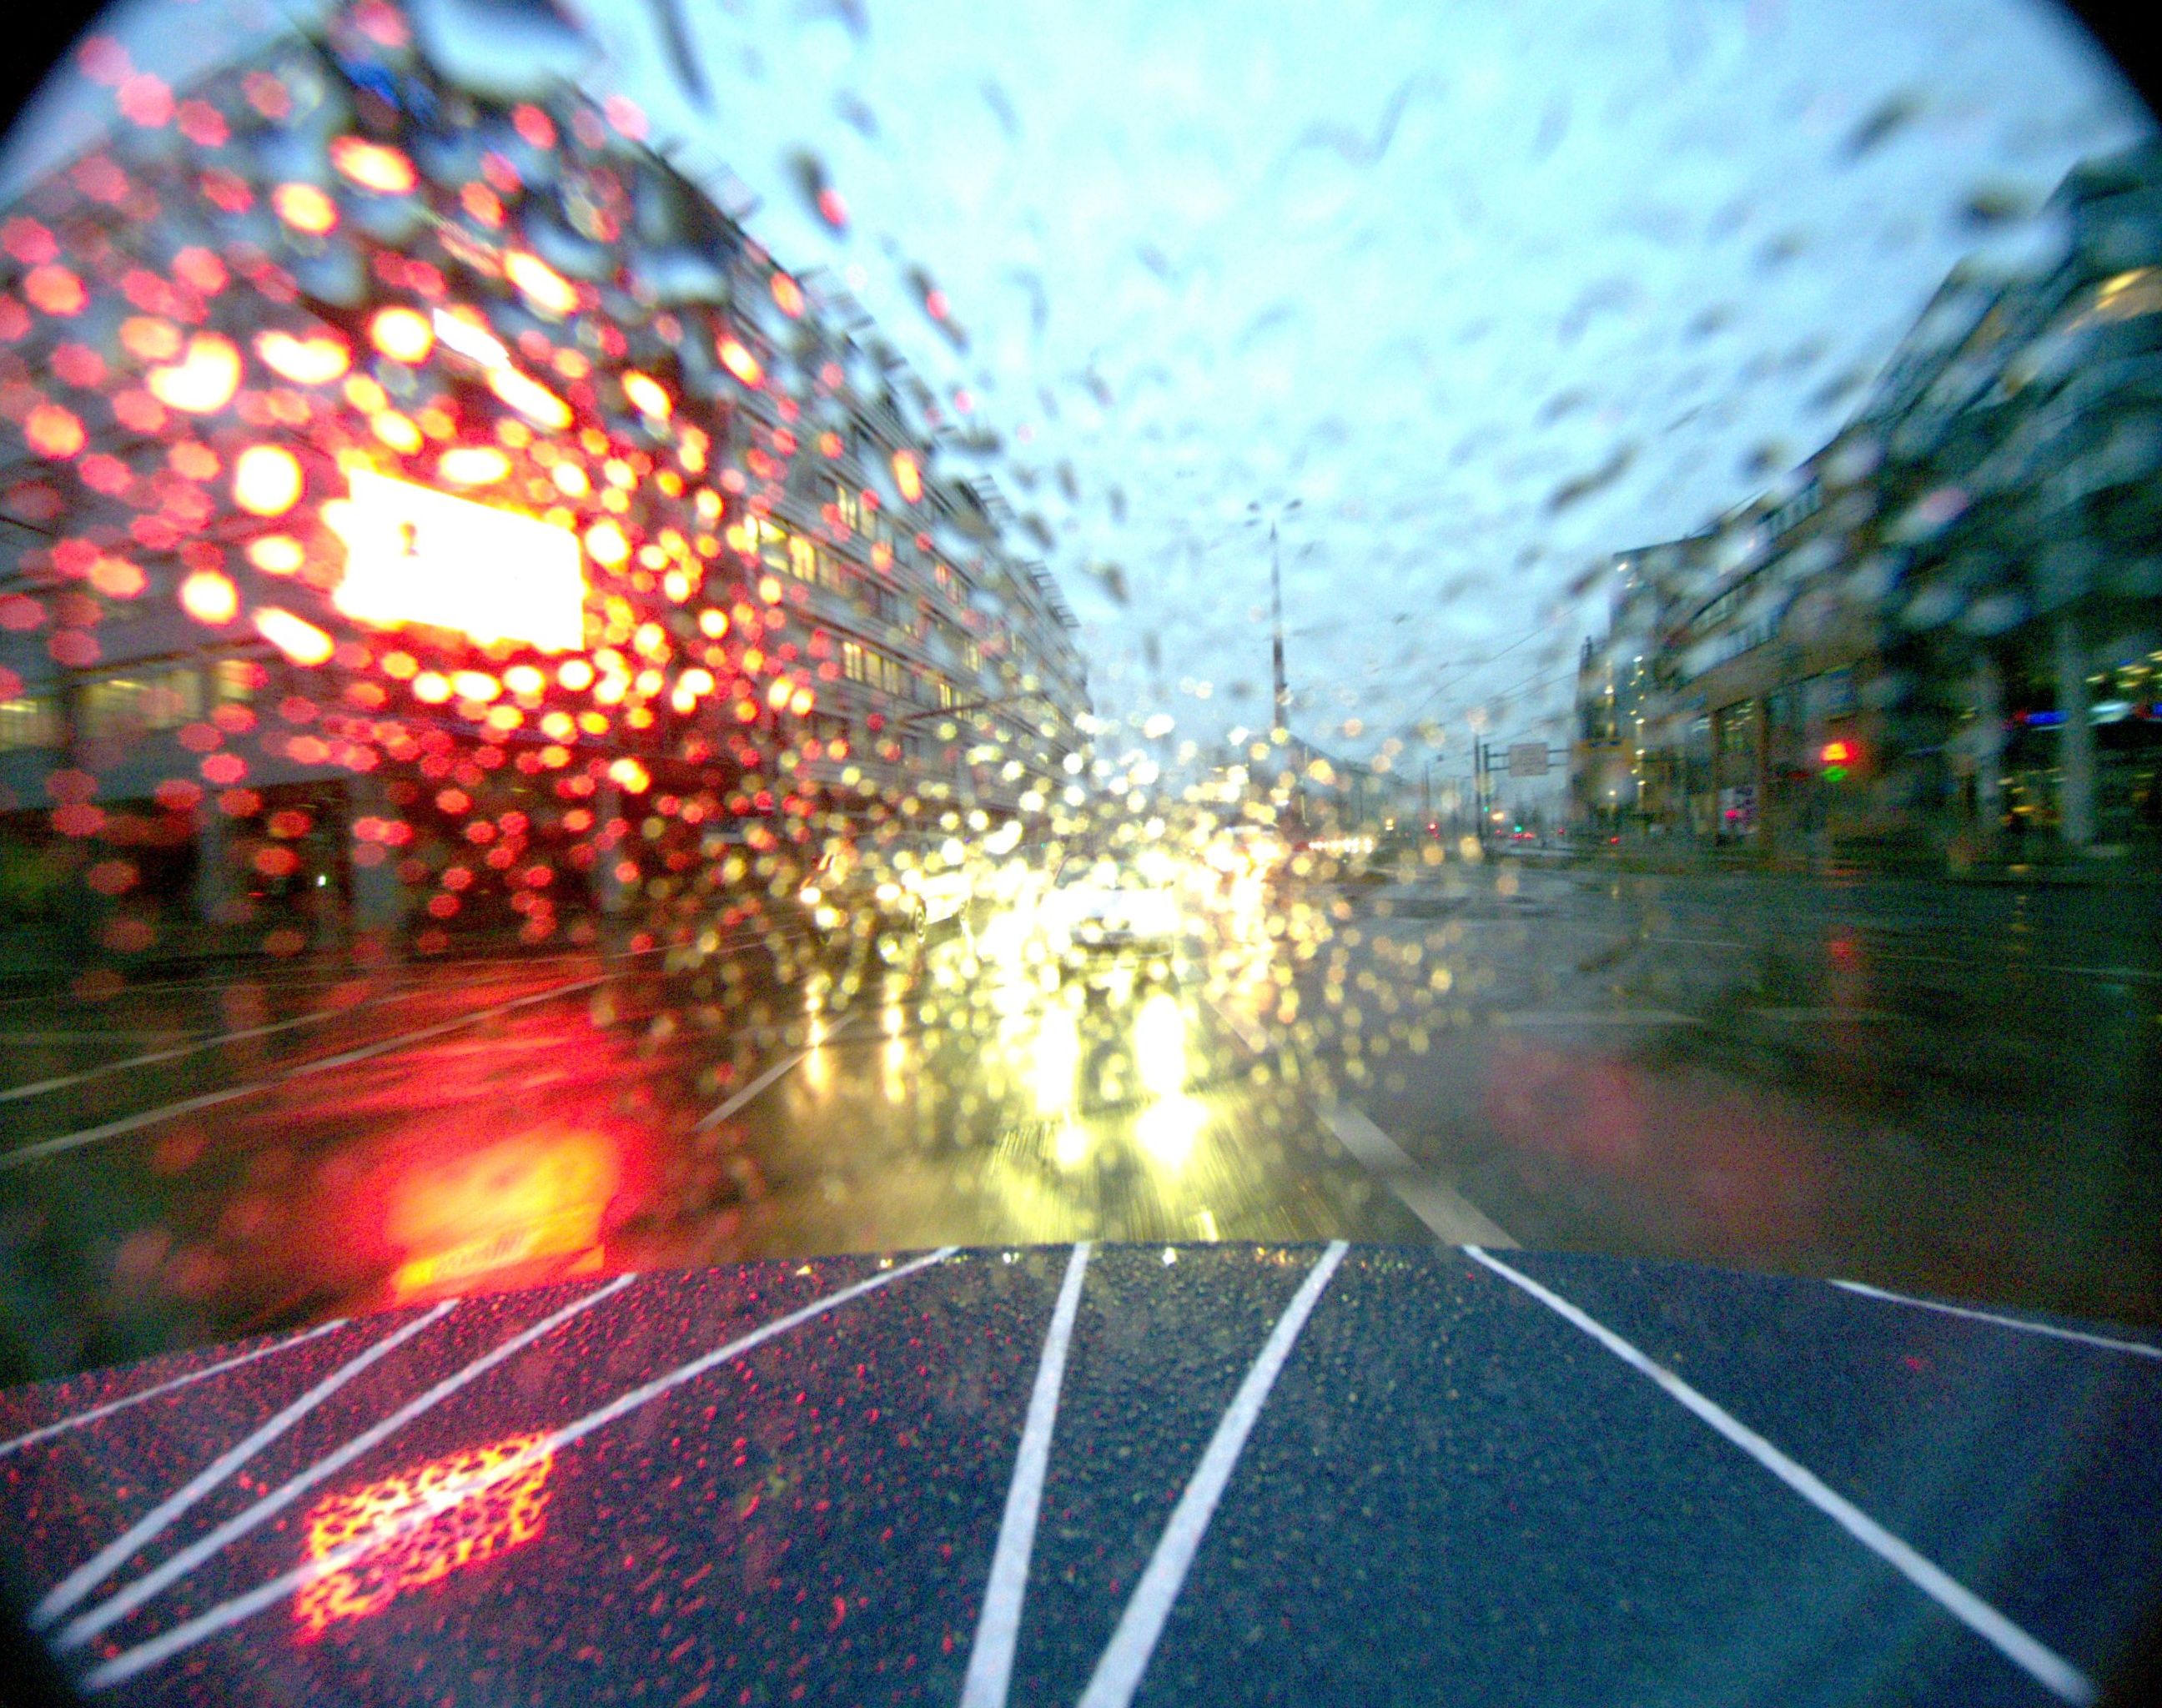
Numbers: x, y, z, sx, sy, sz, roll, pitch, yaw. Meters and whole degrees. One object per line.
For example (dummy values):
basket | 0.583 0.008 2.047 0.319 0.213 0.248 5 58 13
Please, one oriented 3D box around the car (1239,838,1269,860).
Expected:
car | 12.221 -0.370 53.515 1.823 1.391 3.956 -4 0 15

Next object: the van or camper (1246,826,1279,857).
van or camper | 15.652 -1.086 65.287 2.183 2.339 5.656 -4 0 18

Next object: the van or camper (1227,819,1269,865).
van or camper | 10.381 -0.757 46.784 2.059 2.533 5.890 -4 1 16

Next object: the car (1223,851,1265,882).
car | 8.501 0.606 39.436 1.823 1.324 4.229 -4 0 15

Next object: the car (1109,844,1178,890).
car | 2.312 0.402 27.069 1.772 1.449 4.225 -1 1 13

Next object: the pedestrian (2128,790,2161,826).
pedestrian | 52.389 -2.251 37.362 0.692 1.699 0.928 -1 1 26

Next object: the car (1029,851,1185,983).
car | 0.428 0.747 11.166 1.773 1.449 4.222 -4 0 3

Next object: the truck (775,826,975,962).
truck | -3.374 0.582 13.553 1.909 1.906 4.618 -4 0 4

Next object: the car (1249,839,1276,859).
car | 14.038 -0.408 58.726 1.823 1.391 3.956 -4 0 15

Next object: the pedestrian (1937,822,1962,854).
pedestrian | 35.620 -0.644 31.164 0.445 1.257 0.496 -4 1 10

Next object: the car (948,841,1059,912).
car | -2.187 0.580 22.979 1.908 1.809 4.692 -4 0 11

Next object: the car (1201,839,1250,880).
car | 6.102 0.177 31.850 1.682 1.564 3.764 -2 1 15

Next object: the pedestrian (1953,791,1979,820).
pedestrian | 46.527 -2.551 39.934 0.651 1.494 0.694 -1 1 23
